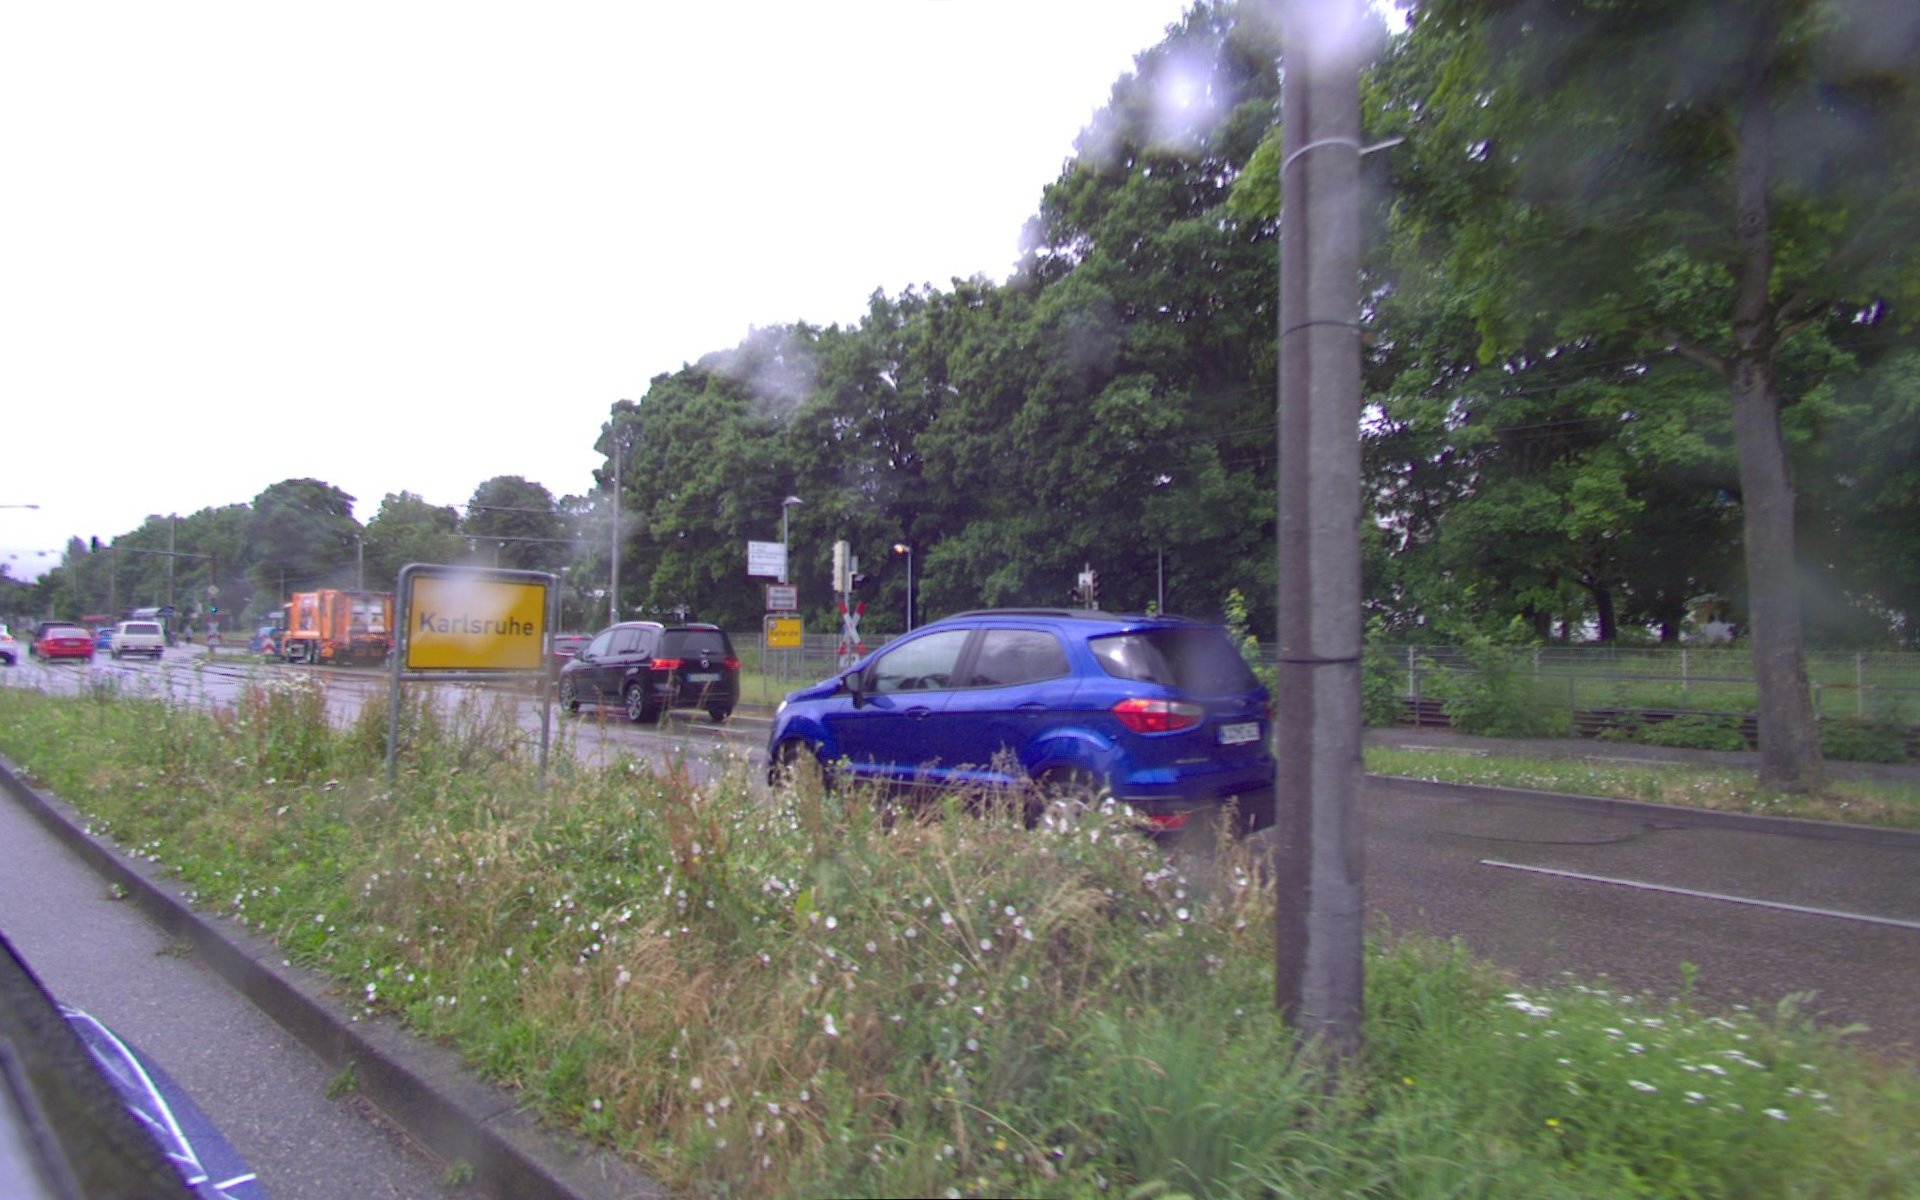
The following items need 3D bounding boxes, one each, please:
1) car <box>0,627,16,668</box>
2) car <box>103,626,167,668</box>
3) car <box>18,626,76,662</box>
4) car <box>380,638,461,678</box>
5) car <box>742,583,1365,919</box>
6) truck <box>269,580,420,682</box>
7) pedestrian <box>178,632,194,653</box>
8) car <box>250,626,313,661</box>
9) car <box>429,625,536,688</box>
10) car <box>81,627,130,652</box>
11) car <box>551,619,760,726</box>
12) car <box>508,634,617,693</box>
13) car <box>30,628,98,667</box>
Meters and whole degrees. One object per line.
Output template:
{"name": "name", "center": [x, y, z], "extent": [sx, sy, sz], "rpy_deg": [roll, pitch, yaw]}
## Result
{"name": "car", "center": [-40.946, 1.973, 42.262], "extent": [4.698, 1.629, 1.939], "rpy_deg": [-2, -3, 44]}
{"name": "car", "center": [-41.995, 2.368, 51.482], "extent": [4.744, 2.033, 1.907], "rpy_deg": [-2, -4, 44]}
{"name": "car", "center": [-47.052, 2.262, 52.122], "extent": [5.090, 1.787, 1.785], "rpy_deg": [-2, -4, 44]}
{"name": "car", "center": [-20.527, 2.186, 38.455], "extent": [3.687, 1.389, 1.570], "rpy_deg": [-2, -4, 44]}
{"name": "car", "center": [0.428, 0.833, 7.077], "extent": [4.135, 1.663, 1.725], "rpy_deg": [-2, -4, 43]}
{"name": "truck", "center": [-28.585, 1.309, 46.693], "extent": [10.409, 4.199, 3.347], "rpy_deg": [-1, 0, 44]}
{"name": "pedestrian", "center": [-63.125, 3.484, 82.543], "extent": [0.800, 1.670, 0.776], "rpy_deg": [-1, 0, 27]}
{"name": "car", "center": [-37.132, 2.358, 55.332], "extent": [4.529, 1.722, 1.971], "rpy_deg": [-1, 0, 45]}
{"name": "car", "center": [-15.827, 1.788, 33.416], "extent": [1.969, 1.841, 4.779], "rpy_deg": [-1, 0, -41]}
{"name": "car", "center": [-51.206, 2.365, 60.610], "extent": [3.999, 1.438, 1.623], "rpy_deg": [-1, -4, 42]}
{"name": "car", "center": [-5.469, 1.220, 17.847], "extent": [1.687, 1.654, 4.334], "rpy_deg": [4, -4, -44]}
{"name": "car", "center": [-11.074, 1.685, 28.022], "extent": [1.847, 1.497, 4.518], "rpy_deg": [1, -2, -34]}
{"name": "car", "center": [-39.347, 2.045, 44.416], "extent": [4.429, 1.581, 1.781], "rpy_deg": [-1, -3, 43]}
